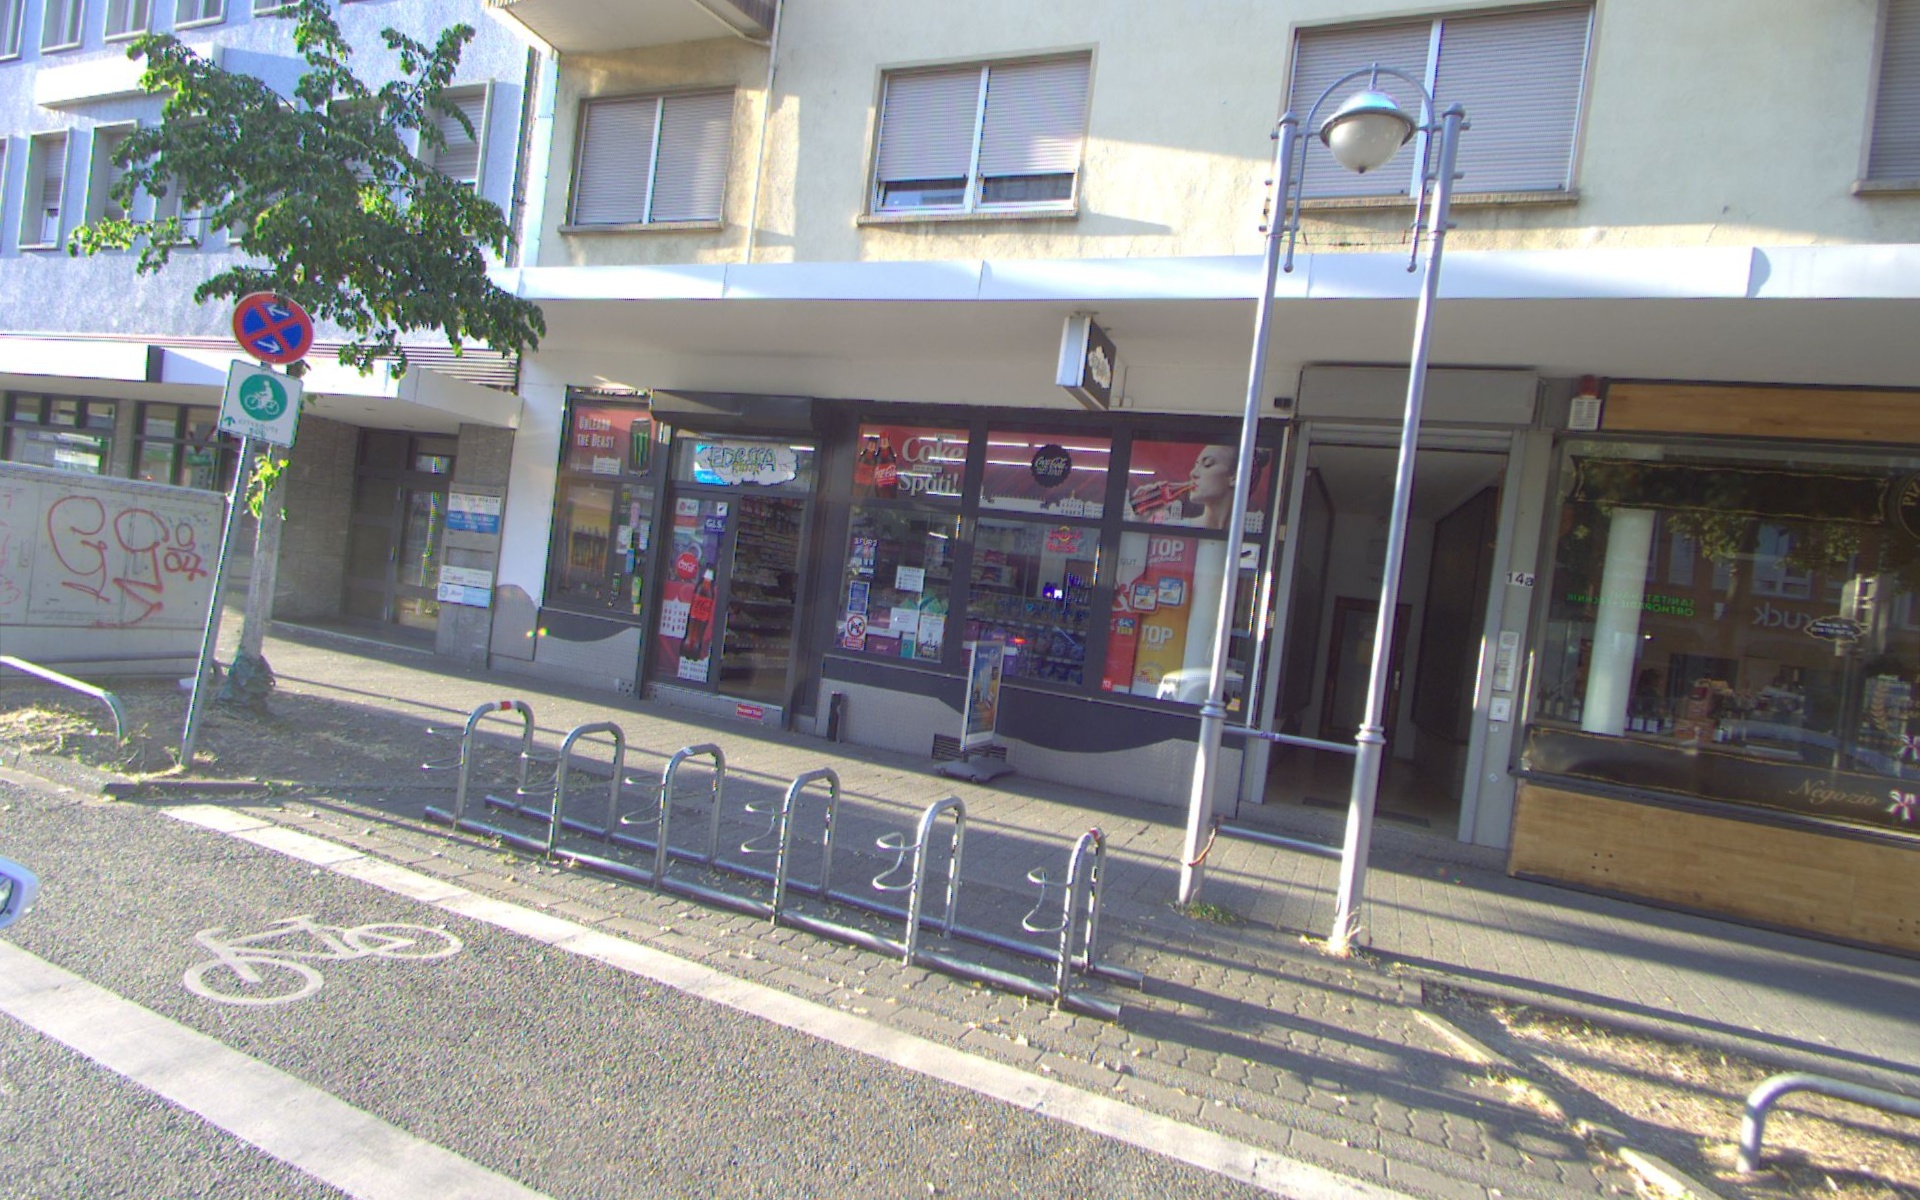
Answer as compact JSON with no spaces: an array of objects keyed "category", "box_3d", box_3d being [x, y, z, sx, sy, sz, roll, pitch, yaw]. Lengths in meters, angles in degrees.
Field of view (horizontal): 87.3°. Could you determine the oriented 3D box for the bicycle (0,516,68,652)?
[{"category":"bicycle","box_3d":[-9.158,-0.192,9.127,0.376,1.234,1.446,7,-1,25]}]
